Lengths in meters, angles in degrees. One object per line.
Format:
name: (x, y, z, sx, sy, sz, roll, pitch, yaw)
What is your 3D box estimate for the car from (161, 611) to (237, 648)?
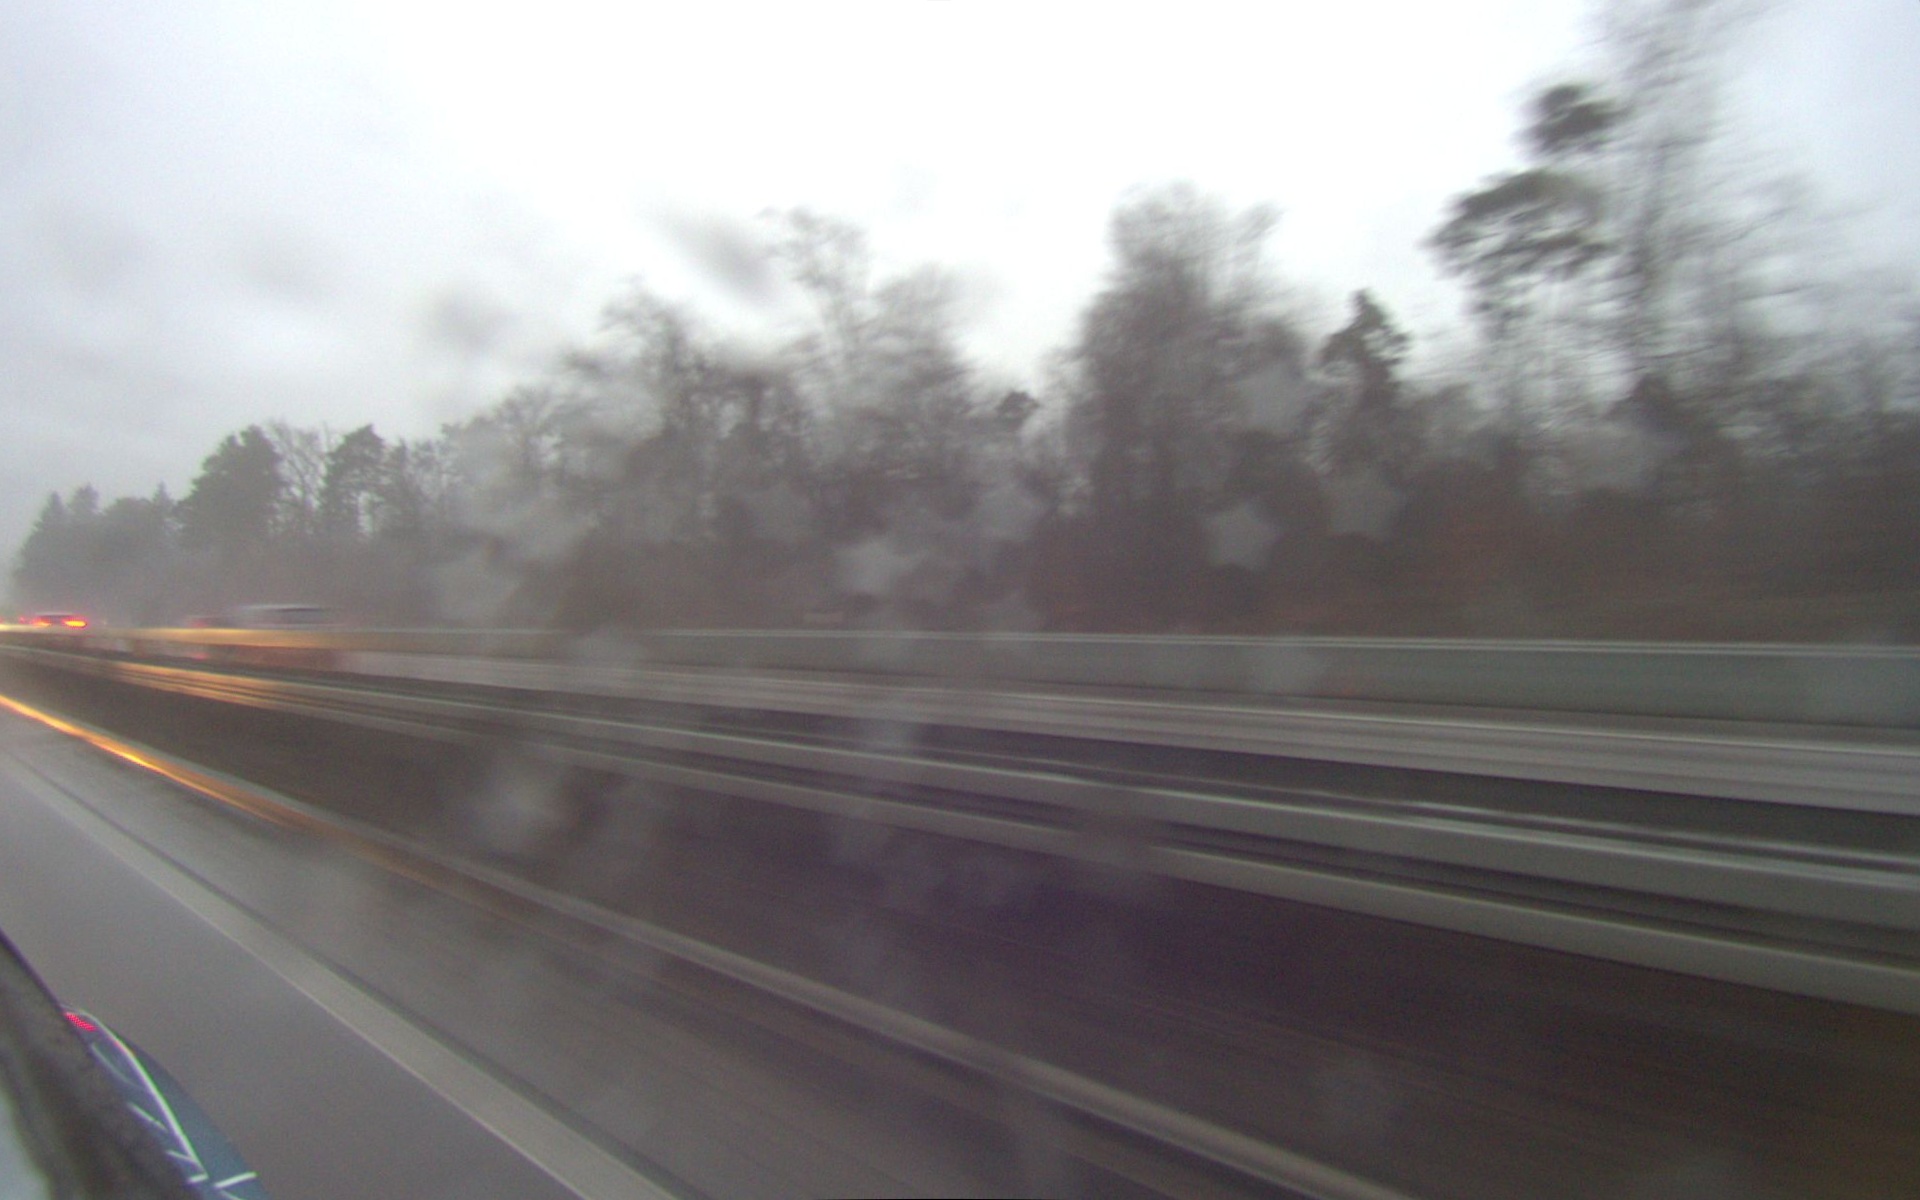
car: (-32.881, 1.223, 43.692, 4.720, 1.496, 1.735, -1, 0, 42)

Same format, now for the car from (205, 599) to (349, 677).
car: (-15.605, 0.799, 23.026, 4.420, 1.590, 1.661, -1, 0, 42)

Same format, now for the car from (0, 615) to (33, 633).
car: (-69.366, 1.744, 73.942, 3.998, 1.294, 1.973, -1, 0, 41)

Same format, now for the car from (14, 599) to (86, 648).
car: (-41.928, 1.030, 46.583, 4.571, 2.146, 1.973, 0, 0, 41)
